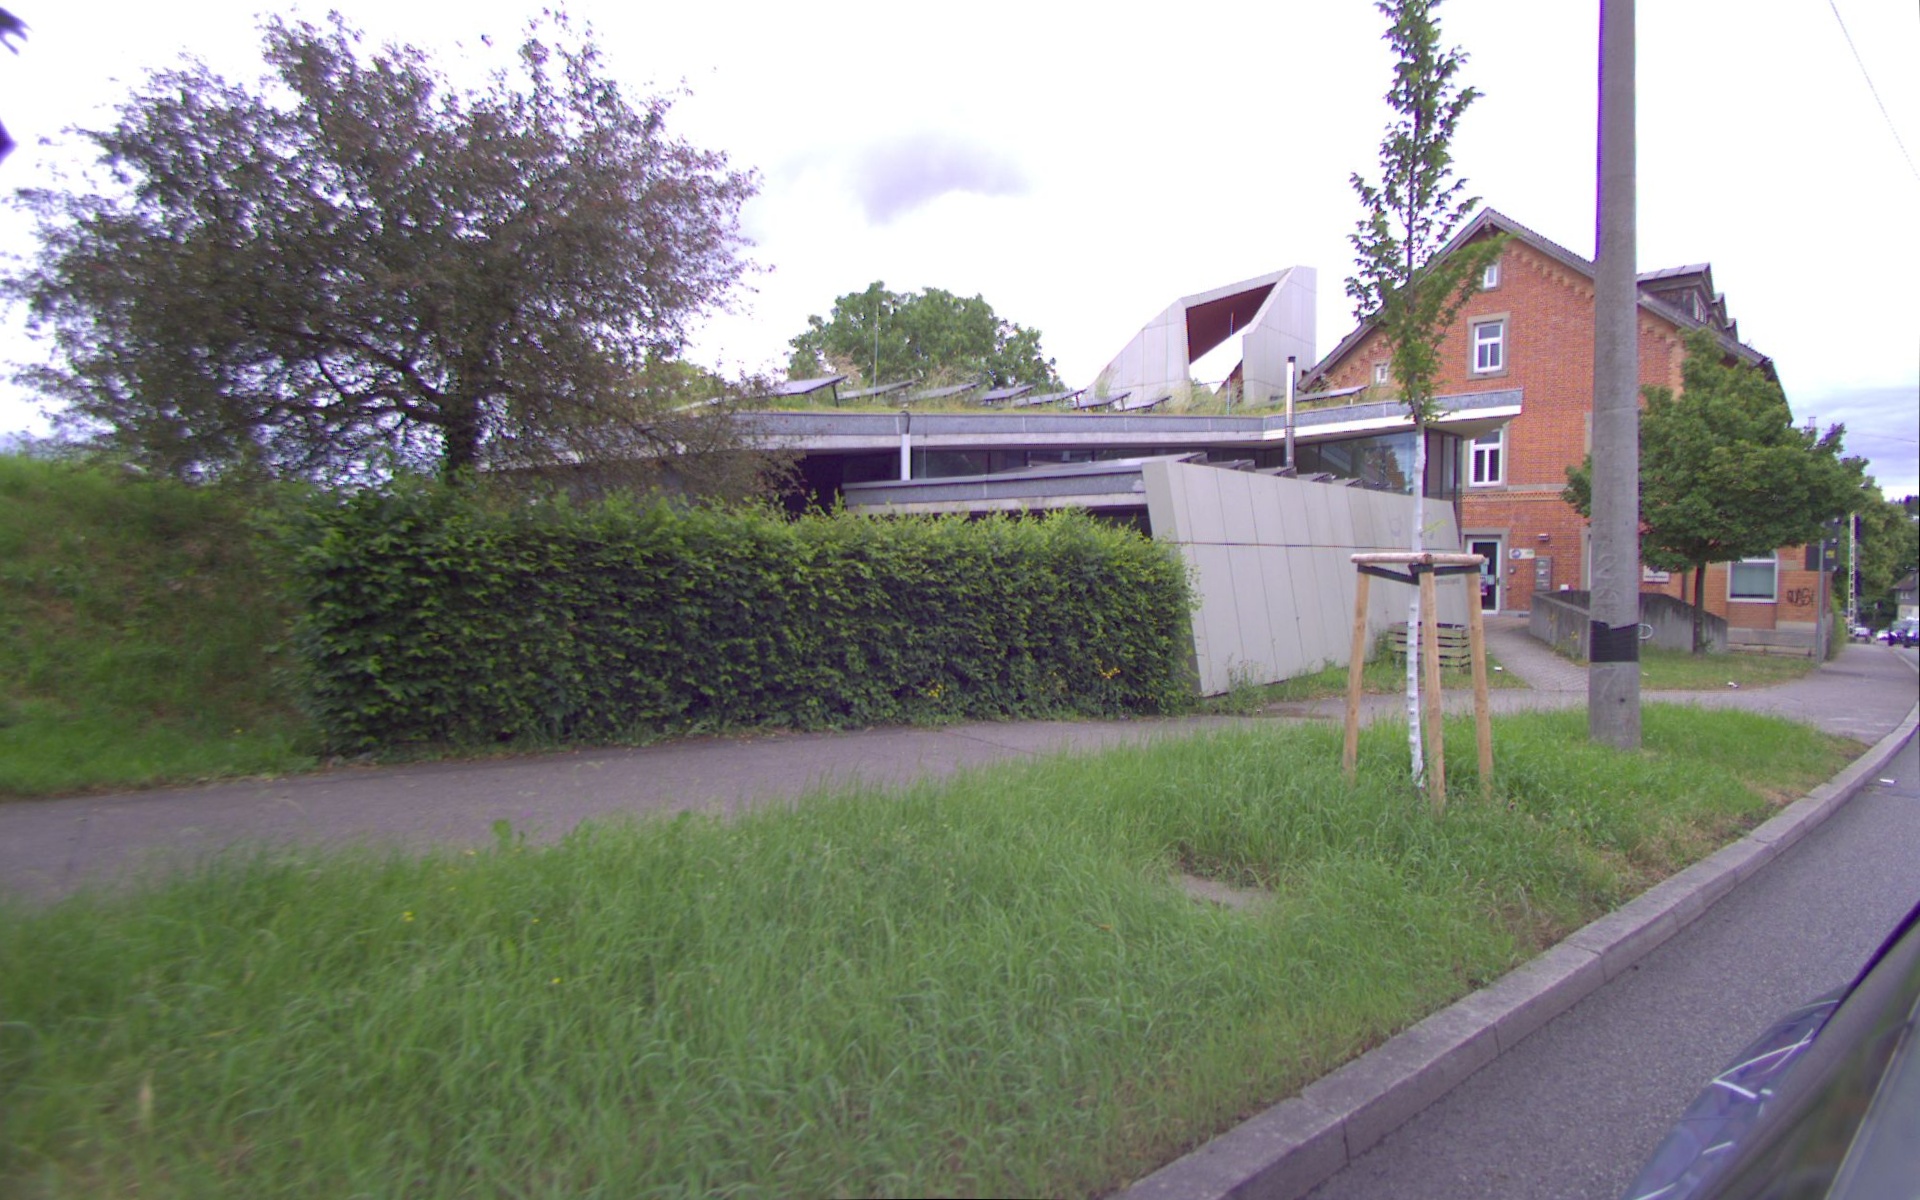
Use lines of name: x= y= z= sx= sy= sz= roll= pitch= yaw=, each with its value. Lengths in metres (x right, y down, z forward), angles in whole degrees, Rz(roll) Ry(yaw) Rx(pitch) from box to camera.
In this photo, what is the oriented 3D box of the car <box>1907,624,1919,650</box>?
car: x=68.677 y=2.651 z=72.012 sx=1.707 sy=1.710 sz=3.737 roll=2 pitch=2 yaw=41
